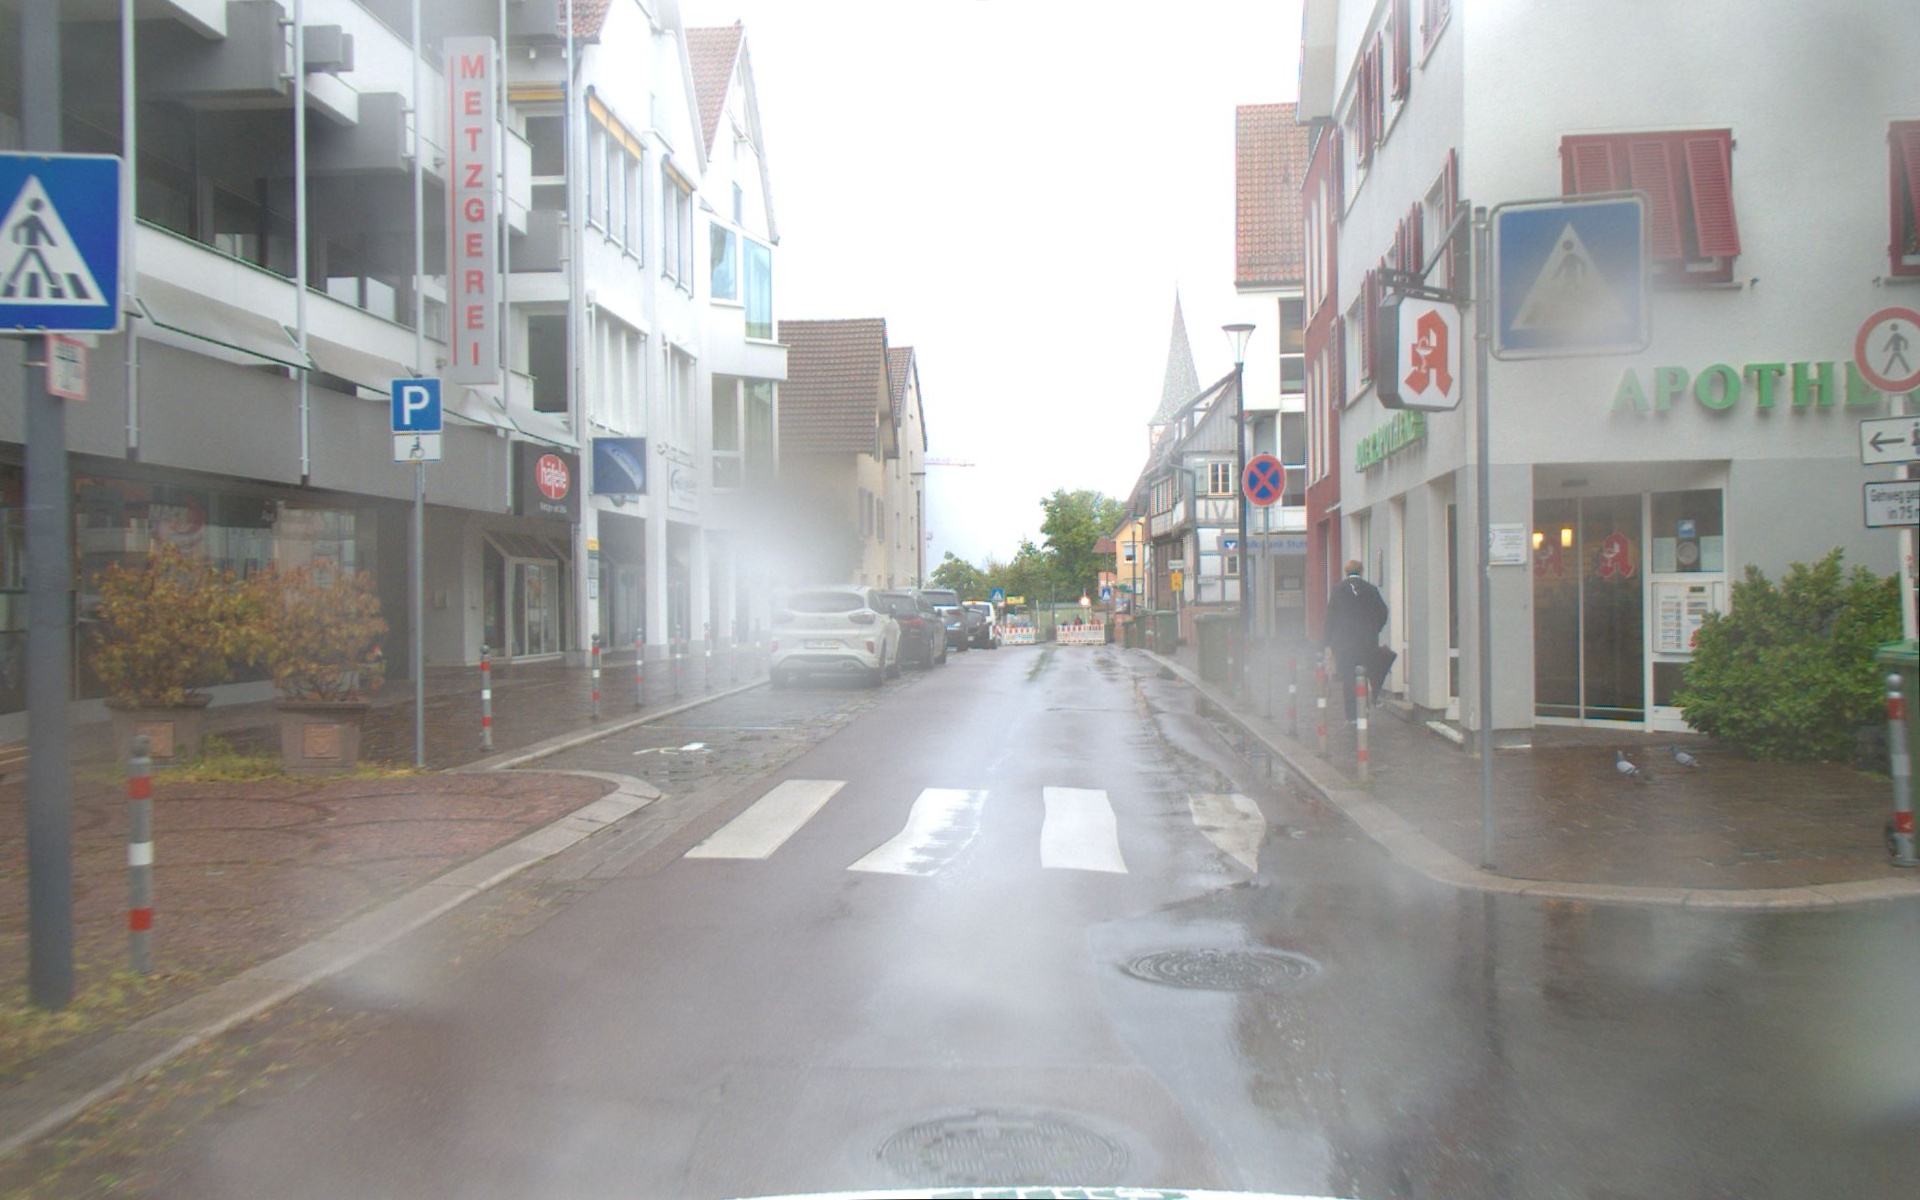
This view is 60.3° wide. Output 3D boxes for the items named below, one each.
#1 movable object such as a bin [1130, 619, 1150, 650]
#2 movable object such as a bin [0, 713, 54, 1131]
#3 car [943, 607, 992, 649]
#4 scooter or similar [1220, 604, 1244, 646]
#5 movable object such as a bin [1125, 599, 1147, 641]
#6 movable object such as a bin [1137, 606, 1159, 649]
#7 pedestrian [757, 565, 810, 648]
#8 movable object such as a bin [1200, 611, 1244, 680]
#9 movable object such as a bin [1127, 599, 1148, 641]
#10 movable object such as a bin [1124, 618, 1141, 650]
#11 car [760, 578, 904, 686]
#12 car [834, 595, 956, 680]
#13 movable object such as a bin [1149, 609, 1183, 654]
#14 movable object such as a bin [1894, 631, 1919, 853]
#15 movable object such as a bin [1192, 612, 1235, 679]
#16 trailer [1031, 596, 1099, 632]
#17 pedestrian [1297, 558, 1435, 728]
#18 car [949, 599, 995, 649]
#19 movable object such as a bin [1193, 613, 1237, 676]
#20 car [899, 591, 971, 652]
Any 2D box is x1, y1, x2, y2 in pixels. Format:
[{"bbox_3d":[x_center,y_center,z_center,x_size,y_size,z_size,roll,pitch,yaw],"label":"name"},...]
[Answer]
[{"bbox_3d":[6.498,1.232,59.678,0.664,1.116,0.650,0,-2,0],"label":"movable object such as a bin"},{"bbox_3d":[-2.810,0.838,4.270,0.675,1.038,0.630,0,0,-14],"label":"movable object such as a bin"},{"bbox_3d":[0.274,1.010,58.238,1.646,1.413,3.825,0,-2,0],"label":"car"},{"bbox_3d":[7.806,0.720,47.402,0.651,1.166,1.447,-1,-2,11],"label":"scooter or similar"},{"bbox_3d":[5.556,0.640,52.198,0.624,1.313,0.632,-1,-2,9],"label":"movable object such as a bin"},{"bbox_3d":[5.859,0.866,51.495,0.624,1.313,0.632,-1,-2,9],"label":"movable object such as a bin"},{"bbox_3d":[-3.976,0.155,37.346,1.013,1.838,1.117,0,0,4],"label":"pedestrian"},{"bbox_3d":[4.253,0.739,26.885,0.662,1.105,0.718,0,-1,5],"label":"movable object such as a bin"},{"bbox_3d":[5.678,0.648,52.964,0.624,1.313,0.632,-1,-2,9],"label":"movable object such as a bin"},{"bbox_3d":[6.488,1.284,62.233,0.624,1.167,0.604,-1,-2,9],"label":"movable object such as a bin"},{"bbox_3d":[-1.954,0.511,26.433,1.754,1.578,4.001,1,-1,3],"label":"car"},{"bbox_3d":[-1.197,0.695,32.676,1.792,1.525,4.766,-1,0,5],"label":"car"},{"bbox_3d":[5.296,0.821,42.551,0.787,1.151,0.862,0,-2,2],"label":"movable object such as a bin"},{"bbox_3d":[4.891,0.678,7.915,0.490,1.075,0.549,-2,-2,3],"label":"movable object such as a bin"},{"bbox_3d":[4.236,0.755,27.650,0.662,1.103,0.698,0,-1,5],"label":"movable object such as a bin"},{"bbox_3d":[8.959,1.195,141.423,5.664,2.999,1.999,0,-2,-2],"label":"trailer"},{"bbox_3d":[4.336,0.450,17.768,1.153,1.727,1.177,-2,0,1],"label":"pedestrian"},{"bbox_3d":[0.512,0.977,63.980,1.688,1.857,4.428,0,-2,1],"label":"car"},{"bbox_3d":[4.471,0.776,29.007,0.713,1.100,0.647,0,-1,5],"label":"movable object such as a bin"},{"bbox_3d":[-0.638,0.625,45.131,1.743,1.596,4.408,0,-2,2],"label":"car"}]
